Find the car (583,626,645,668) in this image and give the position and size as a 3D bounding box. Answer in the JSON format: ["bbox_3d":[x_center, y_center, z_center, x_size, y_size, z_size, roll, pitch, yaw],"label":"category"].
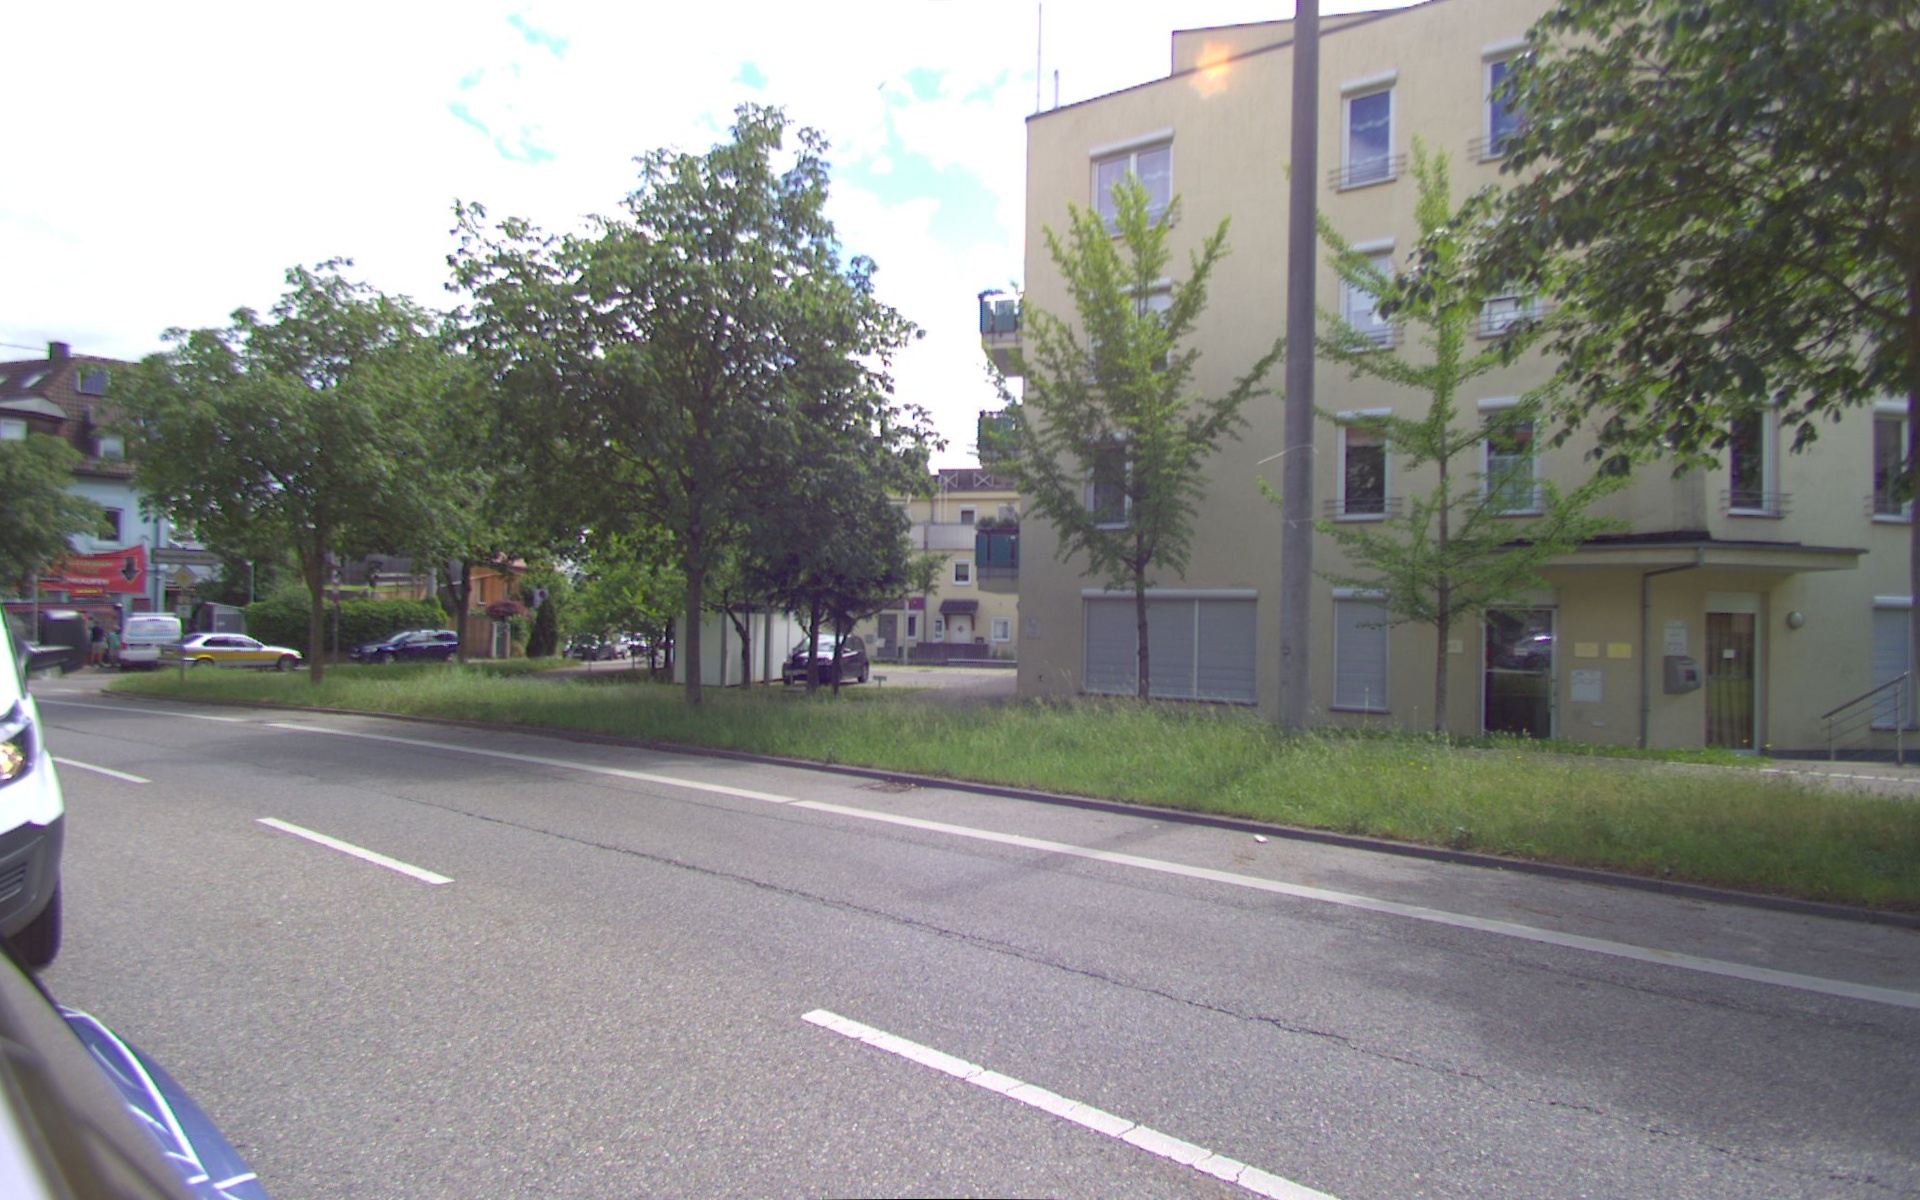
[{"bbox_3d":[-18.807,2.514,55.177,1.972,2.029,4.000,-1,0,0],"label":"car"}]

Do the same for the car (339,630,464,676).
[{"bbox_3d":[-21.748,2.029,39.532,1.715,1.695,3.928,0,-2,37],"label":"car"}]

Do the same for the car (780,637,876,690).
[{"bbox_3d":[-3.814,1.836,29.859,1.773,1.431,3.988,-1,-3,9],"label":"car"}]

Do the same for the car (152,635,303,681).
[{"bbox_3d":[-25.318,1.967,35.138,1.529,1.332,4.008,-1,0,27],"label":"car"}]

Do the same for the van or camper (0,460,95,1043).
[{"bbox_3d":[-5.745,0.554,4.666,5.101,2.029,2.000,-2,-3,42],"label":"van or camper"}]

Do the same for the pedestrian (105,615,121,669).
[{"bbox_3d":[-31.525,1.551,37.657,0.443,2.005,0.378,-1,0,41],"label":"pedestrian"}]

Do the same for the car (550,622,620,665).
[{"bbox_3d":[-18.823,2.167,50.920,1.955,2.029,3.997,0,-2,2],"label":"car"}]

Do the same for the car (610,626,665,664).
[{"bbox_3d":[-18.851,2.605,59.324,1.971,2.029,4.001,-1,0,-1],"label":"car"}]

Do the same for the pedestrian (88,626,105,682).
[{"bbox_3d":[-31.803,1.980,37.285,0.363,2.029,0.419,-1,0,41],"label":"pedestrian"}]

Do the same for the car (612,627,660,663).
[{"bbox_3d":[-20.336,2.825,63.727,1.870,2.029,4.002,-1,0,-2],"label":"car"}]

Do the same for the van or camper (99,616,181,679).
[{"bbox_3d":[-29.623,1.643,36.534,3.811,2.105,1.770,0,0,43],"label":"van or camper"}]
